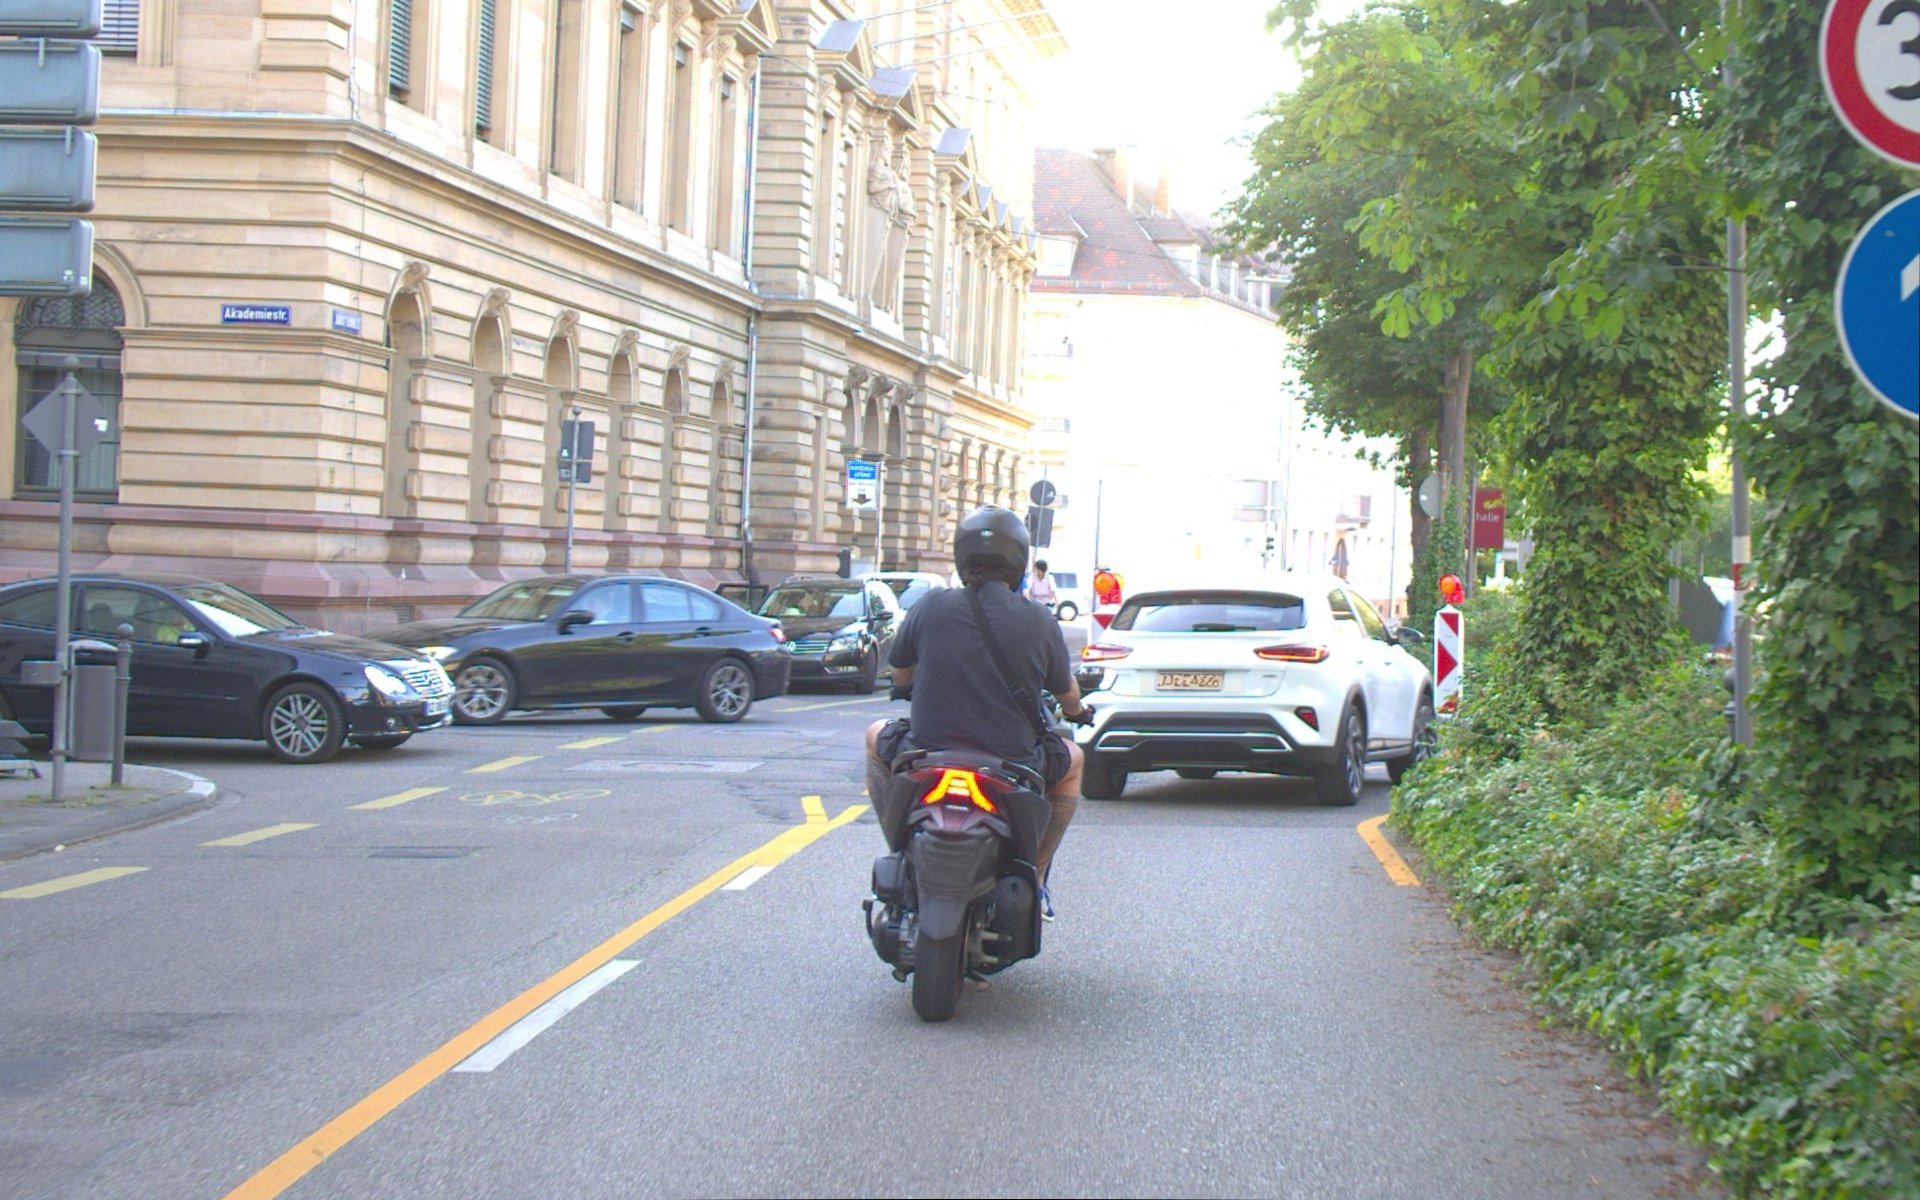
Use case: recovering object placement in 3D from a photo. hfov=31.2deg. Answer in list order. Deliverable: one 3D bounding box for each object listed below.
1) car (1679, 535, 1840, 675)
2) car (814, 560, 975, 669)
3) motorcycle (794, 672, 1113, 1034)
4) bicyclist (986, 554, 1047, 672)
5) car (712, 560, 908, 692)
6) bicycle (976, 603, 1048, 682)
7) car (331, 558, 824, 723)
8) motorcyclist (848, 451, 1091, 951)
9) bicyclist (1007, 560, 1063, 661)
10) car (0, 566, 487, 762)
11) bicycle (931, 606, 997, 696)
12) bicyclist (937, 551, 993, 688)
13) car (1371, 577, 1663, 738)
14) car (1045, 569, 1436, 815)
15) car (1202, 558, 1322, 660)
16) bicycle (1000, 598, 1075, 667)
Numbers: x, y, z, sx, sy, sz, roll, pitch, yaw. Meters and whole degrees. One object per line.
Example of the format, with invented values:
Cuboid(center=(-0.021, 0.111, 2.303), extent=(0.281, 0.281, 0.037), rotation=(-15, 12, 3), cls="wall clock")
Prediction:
Cuboid(center=(11.867, 0.055, 51.239), extent=(1.841, 1.906, 4.056), rotation=(3, 1, 7), cls="car")
Cuboid(center=(-0.934, 0.181, 51.252), extent=(1.994, 1.523, 4.184), rotation=(1, 1, 4), cls="car")
Cuboid(center=(0.014, 0.823, 11.820), extent=(0.797, 1.062, 1.724), rotation=(3, 1, 8), cls="motorcycle")
Cuboid(center=(0.788, 0.175, 47.610), extent=(0.628, 1.608, 0.869), rotation=(1, 1, 15), cls="bicyclist")
Cuboid(center=(-1.858, 0.288, 43.871), extent=(1.994, 1.561, 4.288), rotation=(1, 1, 4), cls="car")
Cuboid(center=(0.730, 0.578, 47.627), extent=(0.533, 1.031, 1.906), rotation=(1, 1, 14), cls="bicycle")
Cuboid(center=(-3.602, 0.361, 32.879), extent=(4.457, 1.456, 1.775), rotation=(0, 1, -41), cls="car")
Cuboid(center=(0.043, 0.335, 11.898), extent=(0.657, 1.645, 0.650), rotation=(3, 1, 10), cls="motorcyclist")
Cuboid(center=(1.166, 0.163, 53.350), extent=(0.629, 1.548, 0.731), rotation=(1, 1, 20), cls="bicyclist")
Cuboid(center=(-6.060, 0.464, 26.912), extent=(4.315, 1.385, 1.775), rotation=(1, 1, 10), cls="car")
Cuboid(center=(0.059, 0.612, 42.297), extent=(0.583, 1.031, 2.128), rotation=(1, 1, 6), cls="bicycle")
Cuboid(center=(0.068, 0.236, 42.408), extent=(0.566, 1.661, 0.834), rotation=(1, 1, 7), cls="bicyclist")
Cuboid(center=(5.798, 0.574, 35.413), extent=(1.843, 1.458, 4.052), rotation=(3, 1, 26), cls="car")
Cuboid(center=(1.989, 0.543, 23.216), extent=(1.852, 1.475, 4.054), rotation=(0, 1, 16), cls="car")
Cuboid(center=(5.283, 0.123, 60.617), extent=(1.994, 1.689, 4.398), rotation=(1, 1, 4), cls="car")
Cuboid(center=(1.211, 0.496, 53.381), extent=(0.533, 1.031, 2.034), rotation=(1, 1, 20), cls="bicycle")
